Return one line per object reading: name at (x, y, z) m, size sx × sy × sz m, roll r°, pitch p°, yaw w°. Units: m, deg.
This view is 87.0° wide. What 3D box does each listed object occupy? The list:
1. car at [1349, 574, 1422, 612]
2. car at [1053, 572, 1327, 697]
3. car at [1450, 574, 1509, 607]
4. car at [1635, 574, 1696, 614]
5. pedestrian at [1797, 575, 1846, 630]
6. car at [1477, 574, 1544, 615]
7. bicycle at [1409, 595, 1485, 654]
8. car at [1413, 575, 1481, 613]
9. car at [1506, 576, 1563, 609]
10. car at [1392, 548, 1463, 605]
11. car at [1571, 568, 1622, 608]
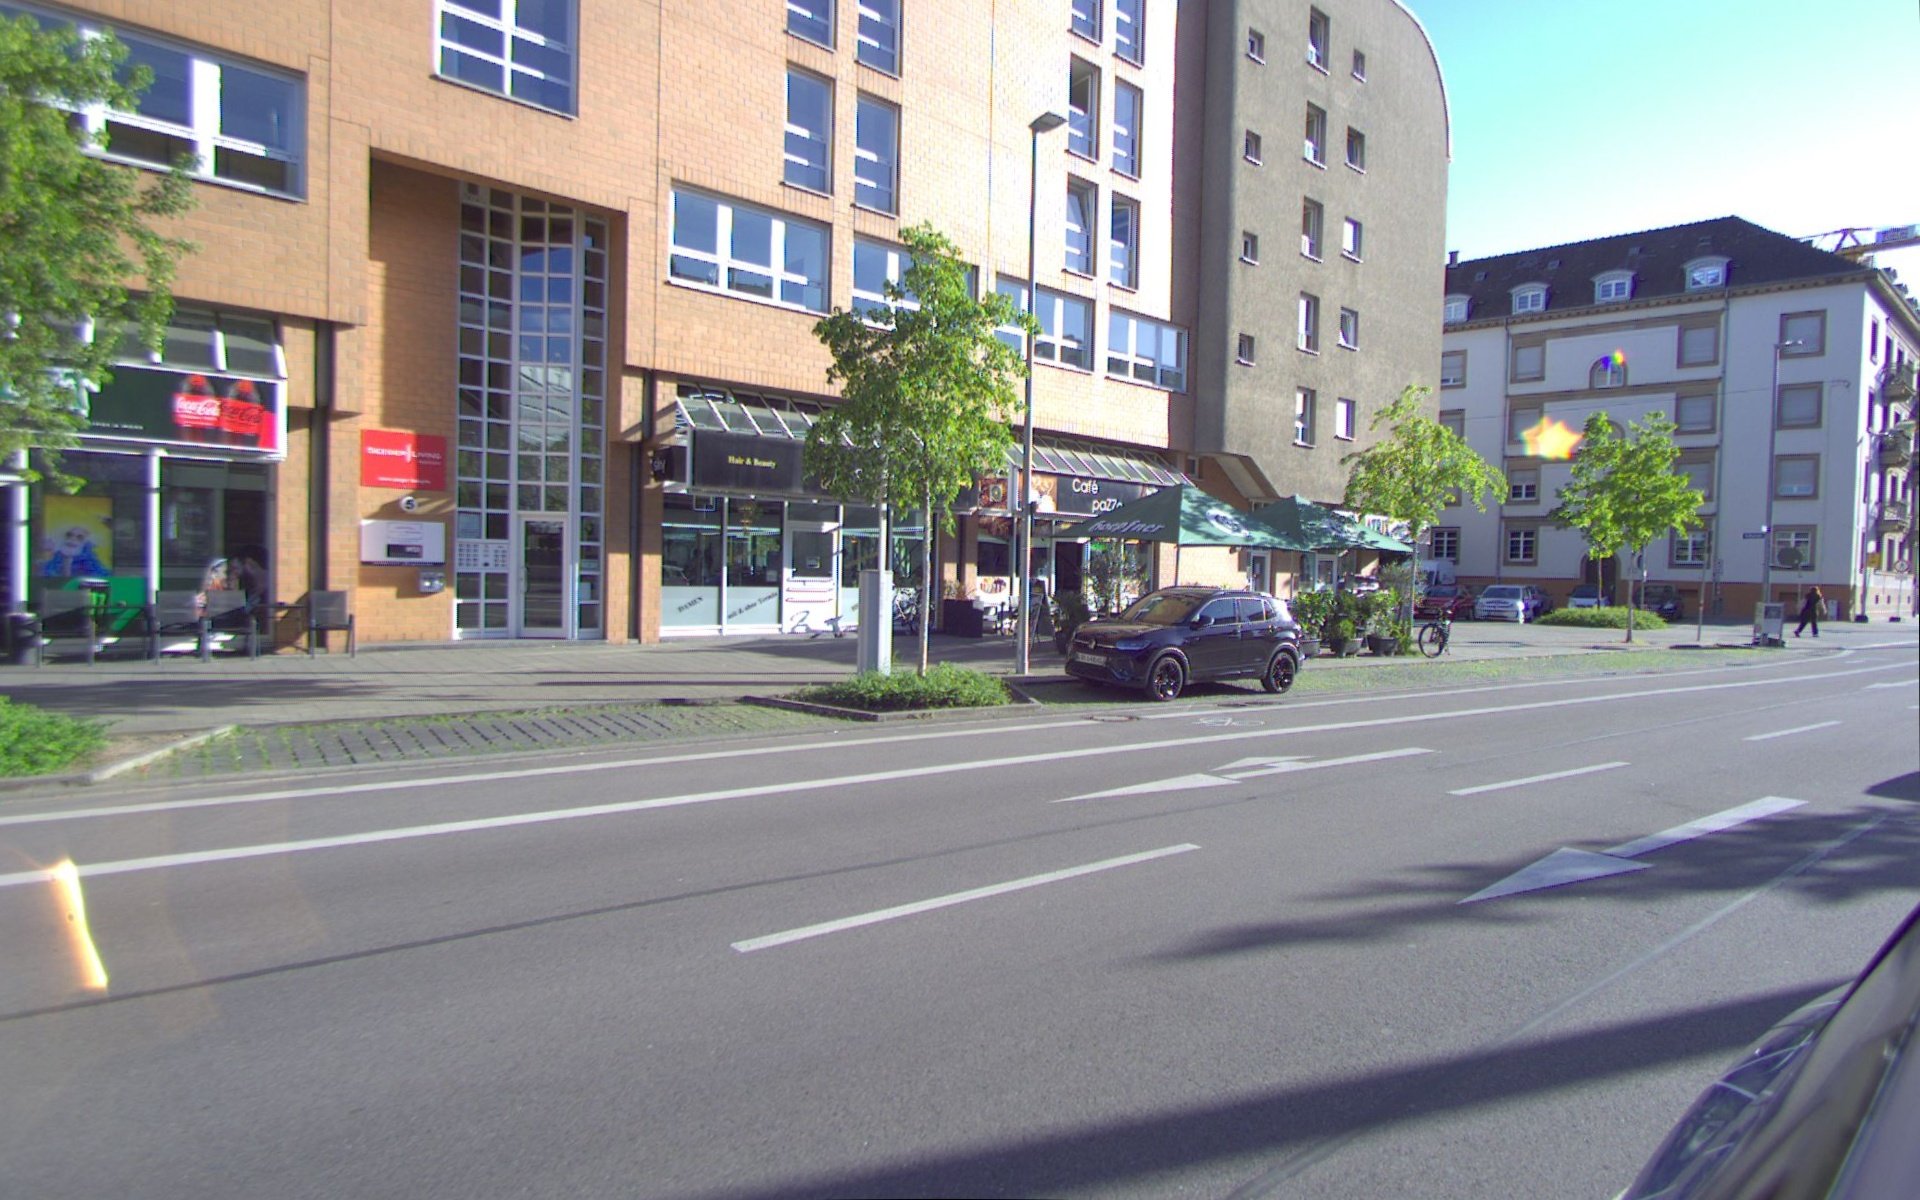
car at (17.753, -0.288, 42.122) m, size 1.631 × 1.473 × 3.676 m, roll 0°, pitch 0°, yaw 43°
car at (3.608, 0.437, 15.648) m, size 4.149 × 1.656 × 1.727 m, roll 0°, pitch 3°, yaw -34°
car at (26.007, -0.499, 50.589) m, size 1.690 × 1.497 × 4.377 m, roll 0°, pitch 1°, yaw 40°
car at (31.641, -0.271, 45.343) m, size 1.691 × 1.708 × 4.372 m, roll 0°, pitch 0°, yaw 42°
pedestrian at (29.452, 0.076, 34.594) m, size 1.083 × 1.784 × 0.888 m, roll -1°, pitch 4°, yaw -31°
car at (21.291, -0.198, 39.074) m, size 1.659 × 1.493 × 3.784 m, roll 0°, pitch 0°, yaw 38°
bicycle at (10.752, 0.518, 22.323) m, size 1.965 × 1.093 × 0.767 m, roll -2°, pitch 8°, yaw -44°
car at (19.532, -0.237, 40.508) m, size 1.630 × 1.471 × 3.603 m, roll 0°, pitch 0°, yaw 40°
car at (27.722, -0.379, 48.789) m, size 1.689 × 1.447 × 4.378 m, roll 0°, pitch 1°, yaw 39°
car at (23.825, -1.261, 51.463) m, size 1.920 × 2.640 × 5.883 m, roll 2°, pitch 4°, yaw 39°
car at (29.797, -0.601, 47.308) m, size 1.620 × 1.707 × 4.381 m, roll 1°, pitch 3°, yaw 38°
